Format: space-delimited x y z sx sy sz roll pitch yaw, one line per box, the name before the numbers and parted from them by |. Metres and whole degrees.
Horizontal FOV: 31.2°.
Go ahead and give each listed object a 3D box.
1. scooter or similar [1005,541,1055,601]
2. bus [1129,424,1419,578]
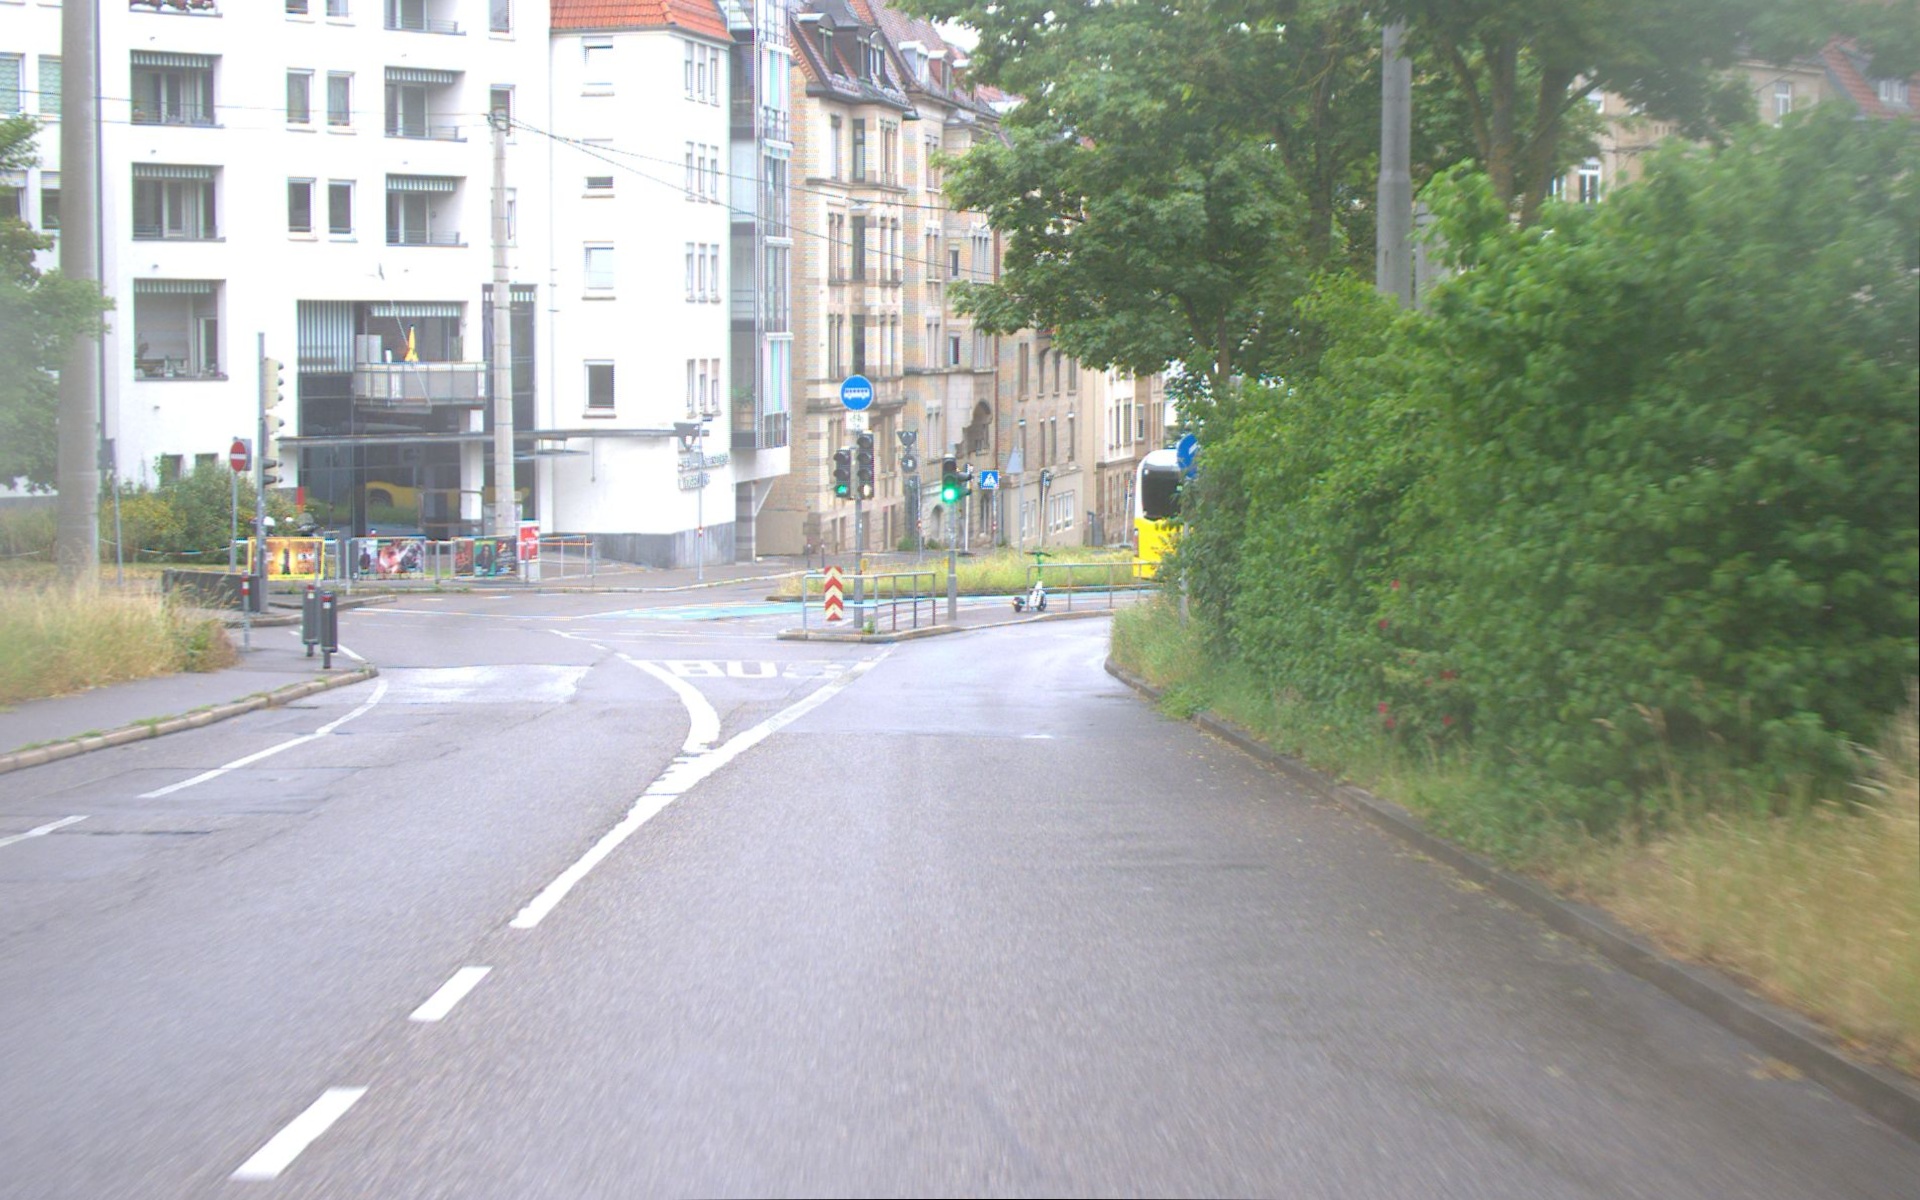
scooter or similar | 1.357 -0.564 66.025 0.434 1.109 1.604 3 2 20
bus | 7.628 -2.297 82.193 2.596 3.457 9.089 3 2 35
